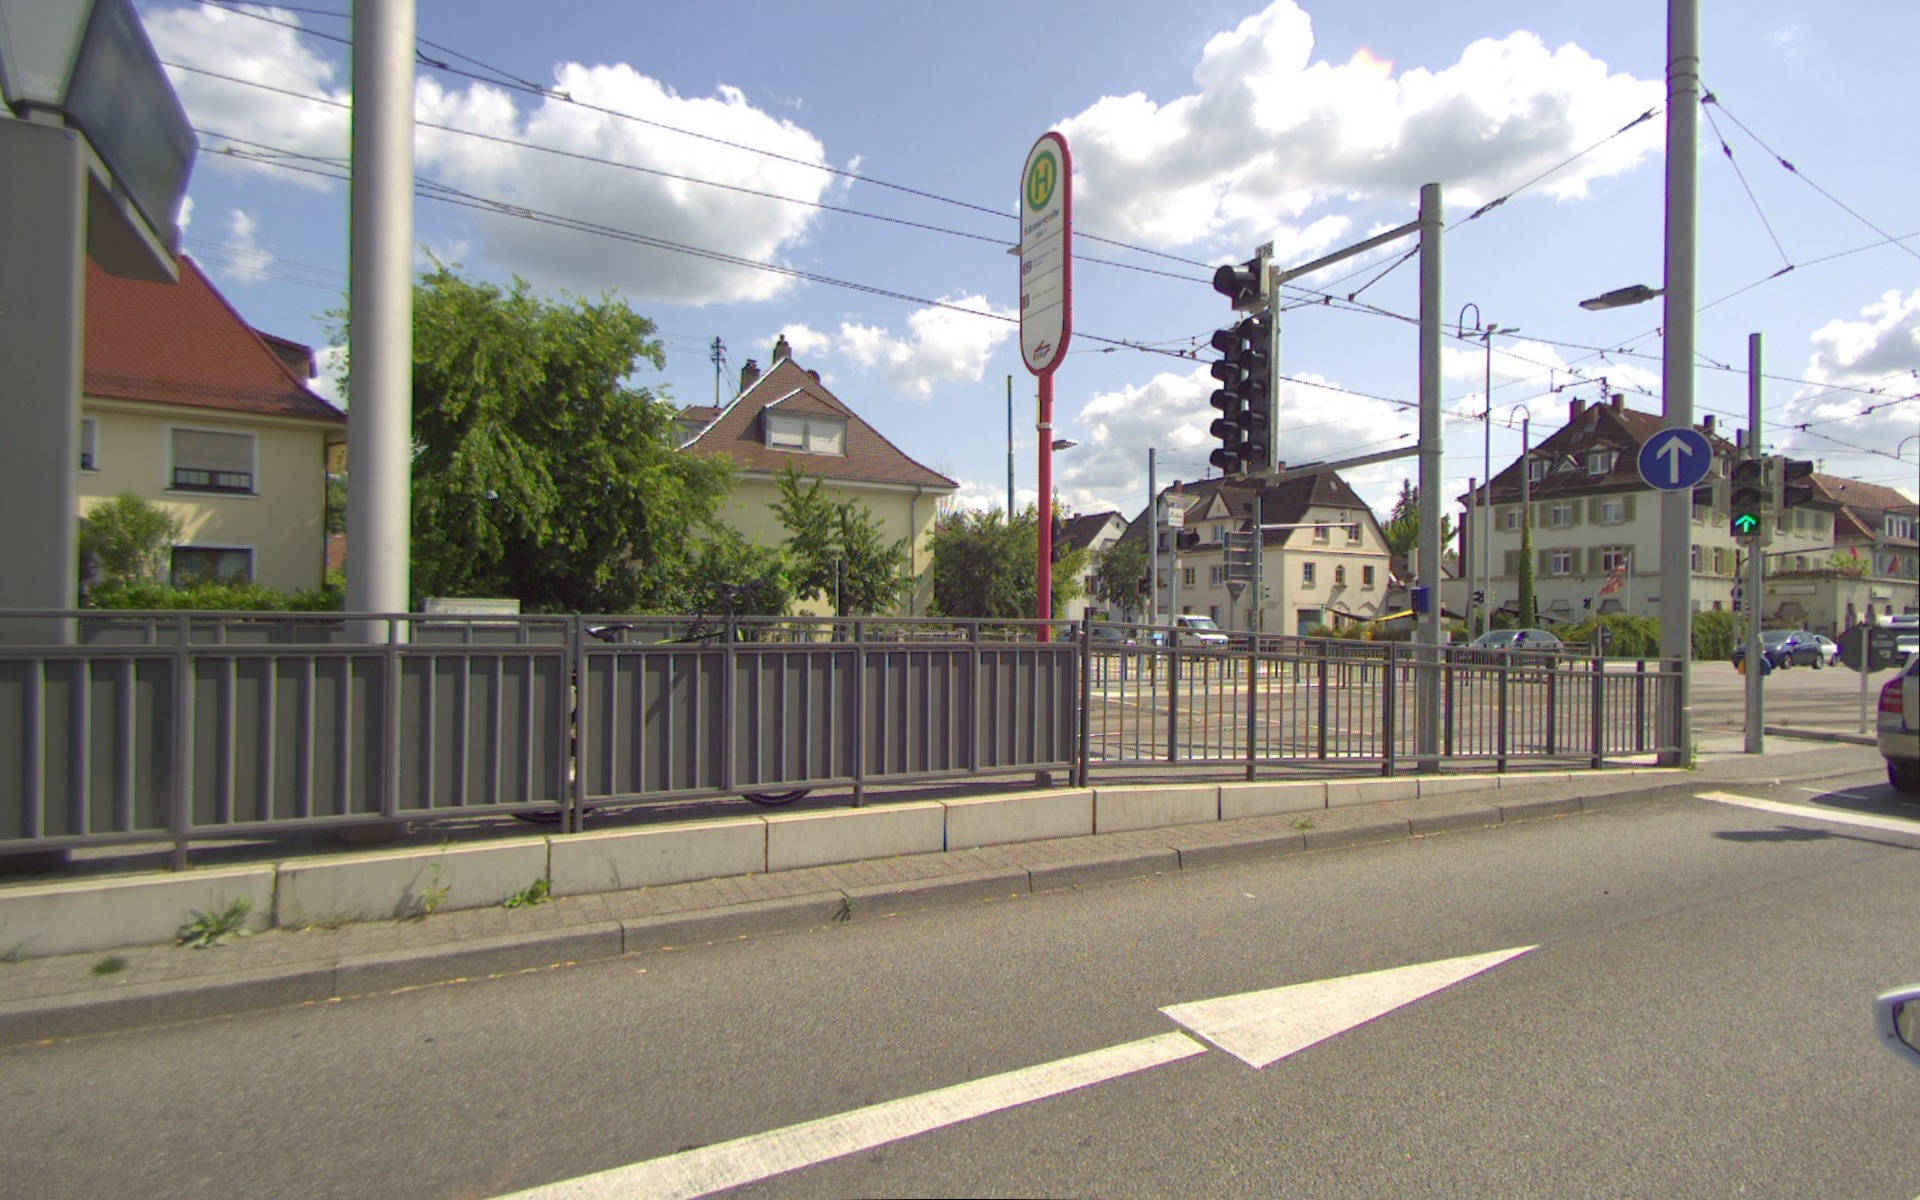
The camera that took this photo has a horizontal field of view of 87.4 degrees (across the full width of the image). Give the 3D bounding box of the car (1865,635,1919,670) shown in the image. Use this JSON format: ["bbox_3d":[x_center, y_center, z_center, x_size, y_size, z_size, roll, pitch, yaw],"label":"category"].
[{"bbox_3d":[41.890,2.329,44.120,4.129,1.369,1.984,2,0,-30],"label":"car"}]

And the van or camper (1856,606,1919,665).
[{"bbox_3d":[50.615,1.876,53.323,7.663,2.968,2.313,2,-1,-30],"label":"van or camper"}]

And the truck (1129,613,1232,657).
[{"bbox_3d":[11.336,1.769,52.158,1.668,1.947,6.162,2,0,-27],"label":"truck"}]

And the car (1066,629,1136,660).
[{"bbox_3d":[8.177,2.573,58.497,1.975,1.573,4.148,3,-1,-27],"label":"car"}]

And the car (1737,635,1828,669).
[{"bbox_3d":[37.696,2.387,46.022,4.291,1.369,1.677,2,0,-28],"label":"car"}]

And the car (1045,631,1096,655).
[{"bbox_3d":[8.517,3.305,77.964,1.976,1.617,3.969,2,0,-29],"label":"car"}]

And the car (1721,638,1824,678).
[{"bbox_3d":[31.080,2.209,38.401,4.129,1.369,1.676,2,0,-30],"label":"car"}]

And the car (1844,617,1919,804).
[{"bbox_3d":[9.556,0.950,8.644,4.075,1.468,1.722,2,0,-30],"label":"car"}]

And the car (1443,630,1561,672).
[{"bbox_3d":[19.387,1.827,35.879,4.294,1.369,1.676,2,0,-30],"label":"car"}]

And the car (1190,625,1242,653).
[{"bbox_3d":[18.001,2.735,70.801,1.900,1.690,4.279,2,0,-11],"label":"car"}]
